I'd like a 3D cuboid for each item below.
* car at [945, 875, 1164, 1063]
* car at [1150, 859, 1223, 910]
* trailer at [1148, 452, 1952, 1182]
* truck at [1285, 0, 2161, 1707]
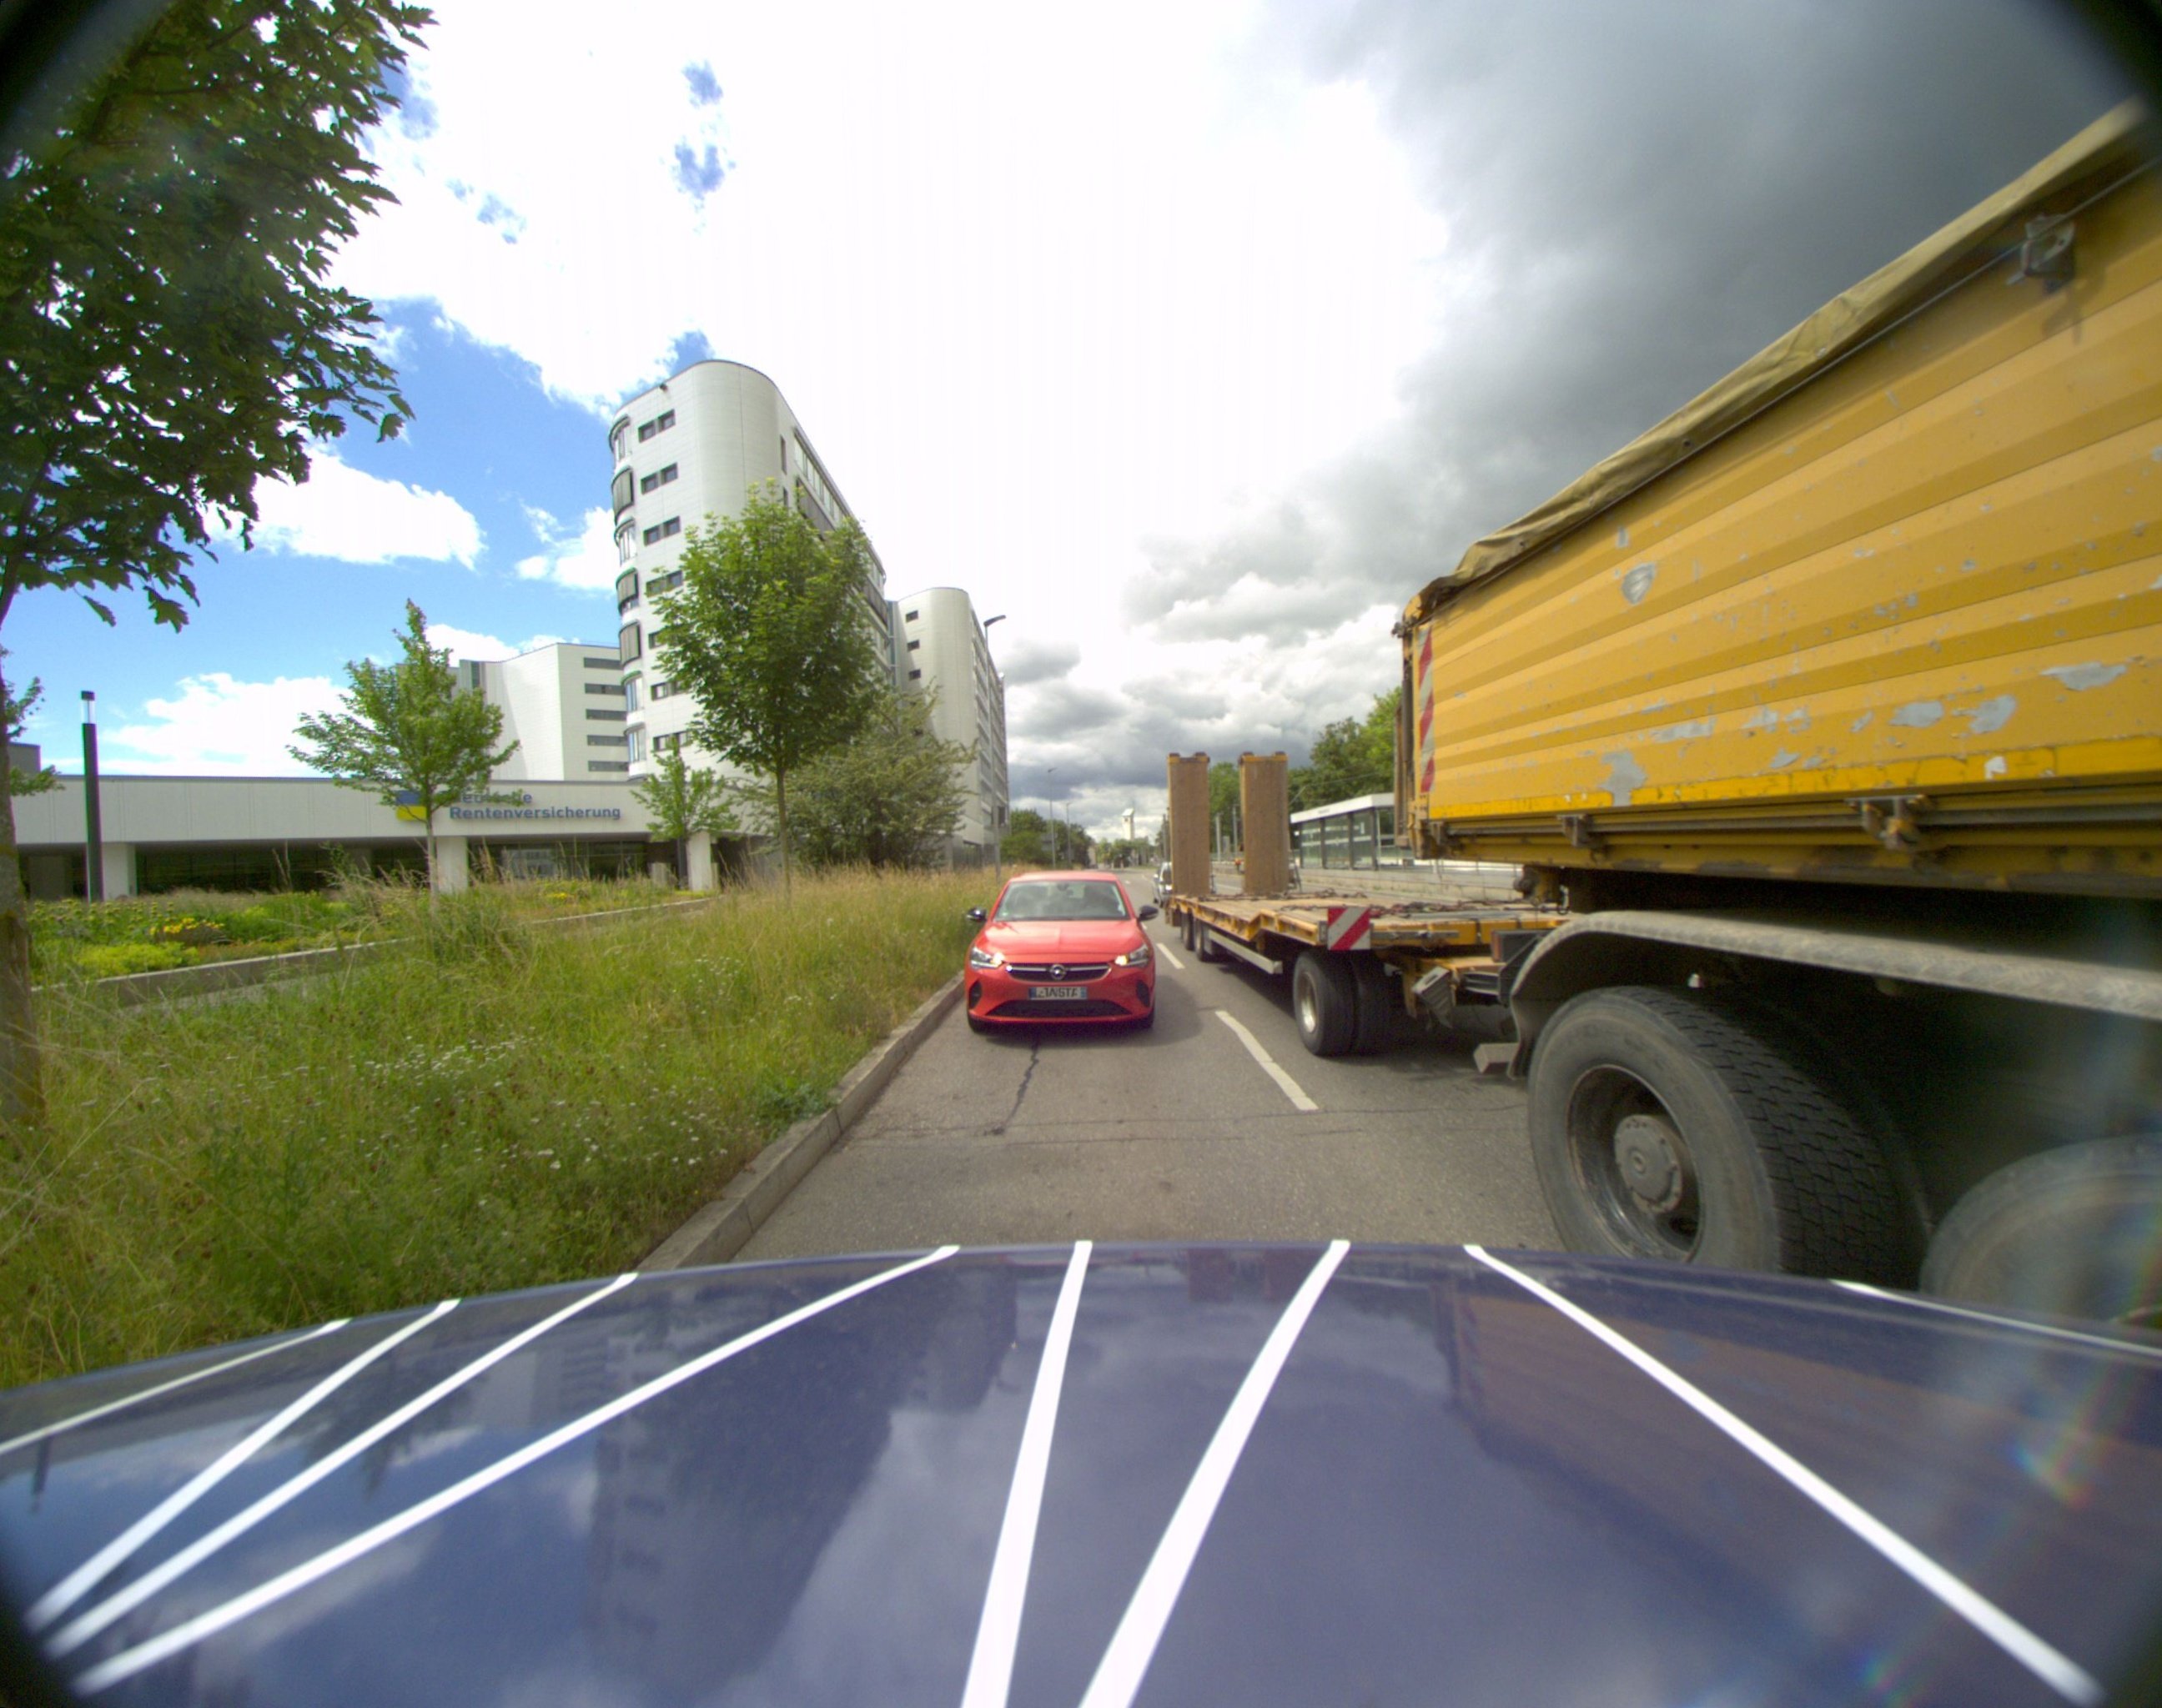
[{"bbox_3d":[-0.181,0.982,7.973,1.749,1.408,3.676,-1,0,1],"label":"car"},{"bbox_3d":[3.247,0.894,23.975,1.784,1.408,3.785,-2,0,1],"label":"car"},{"bbox_3d":[2.927,-0.167,9.420,3.057,3.676,10.965,-2,0,0],"label":"trailer"},{"bbox_3d":[2.715,-0.049,0.118,3.057,3.374,8.006,-2,0,0],"label":"truck"}]
